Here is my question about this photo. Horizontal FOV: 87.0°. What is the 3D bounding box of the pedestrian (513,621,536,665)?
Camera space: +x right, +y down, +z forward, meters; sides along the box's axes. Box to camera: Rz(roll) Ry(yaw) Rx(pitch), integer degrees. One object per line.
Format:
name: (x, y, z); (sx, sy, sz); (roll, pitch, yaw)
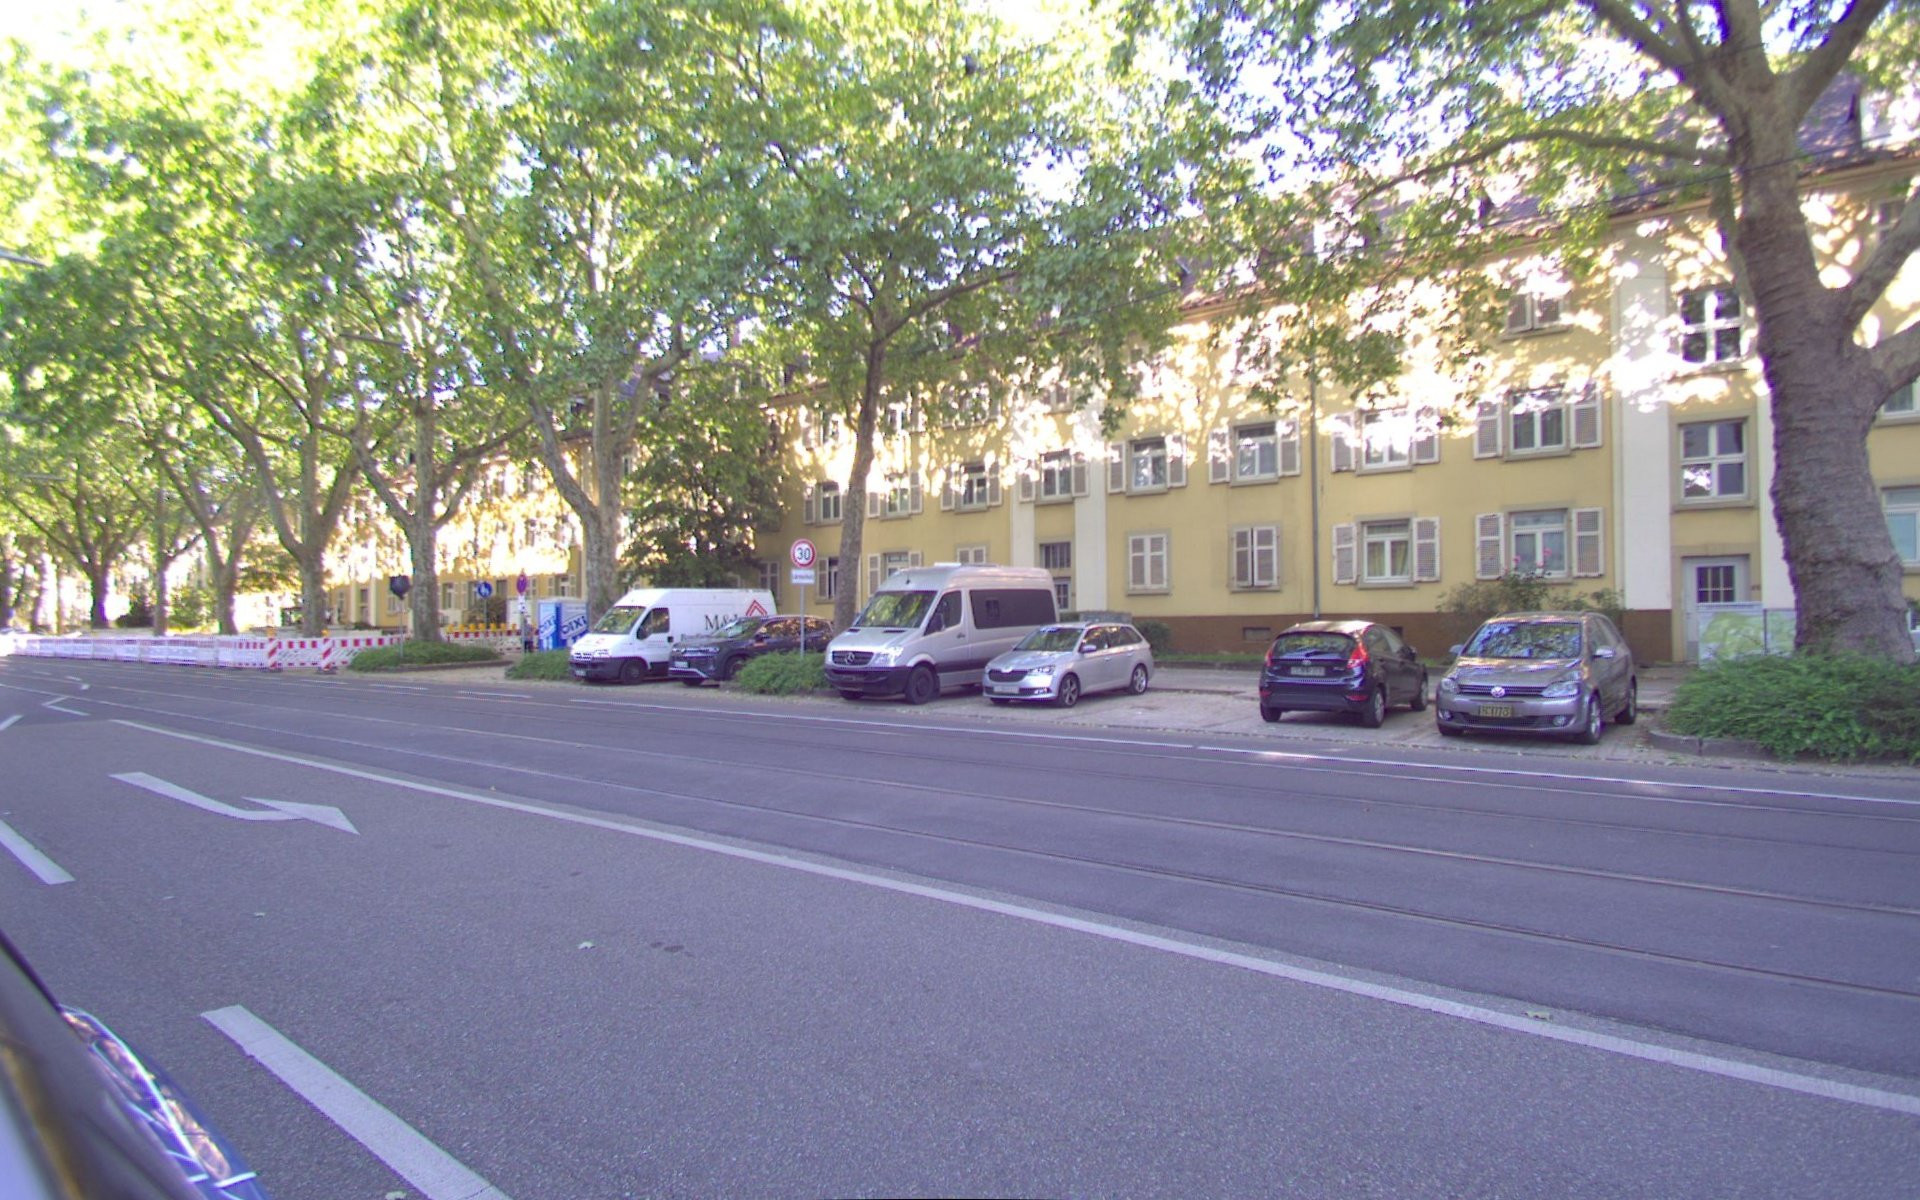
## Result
pedestrian: (-15.763, 1.549, 36.634); (0.587, 1.585, 0.718); (1, -2, -42)

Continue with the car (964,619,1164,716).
car: (2.039, 1.161, 18.899); (1.729, 1.481, 4.102); (0, 1, 40)

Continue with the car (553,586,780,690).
car: (-7.442, 0.951, 26.279); (2.023, 2.394, 5.543); (-2, -2, 38)

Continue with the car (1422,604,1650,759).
car: (7.740, 0.930, 13.408); (1.814, 1.617, 4.145); (-2, 0, 41)

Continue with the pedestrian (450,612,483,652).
pedestrian: (-25.604, 1.672, 52.499); (1.233, 2.029, 1.085); (-2, -2, 36)

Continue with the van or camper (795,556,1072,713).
van or camper: (-0.313, 0.615, 20.484); (2.227, 2.697, 6.052); (-2, -1, 38)

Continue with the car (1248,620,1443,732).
car: (5.909, 1.051, 15.322); (1.740, 1.440, 3.528); (-2, -1, 39)

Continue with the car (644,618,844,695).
car: (-5.088, 1.277, 24.360); (1.967, 1.643, 4.520); (-2, -2, 38)
